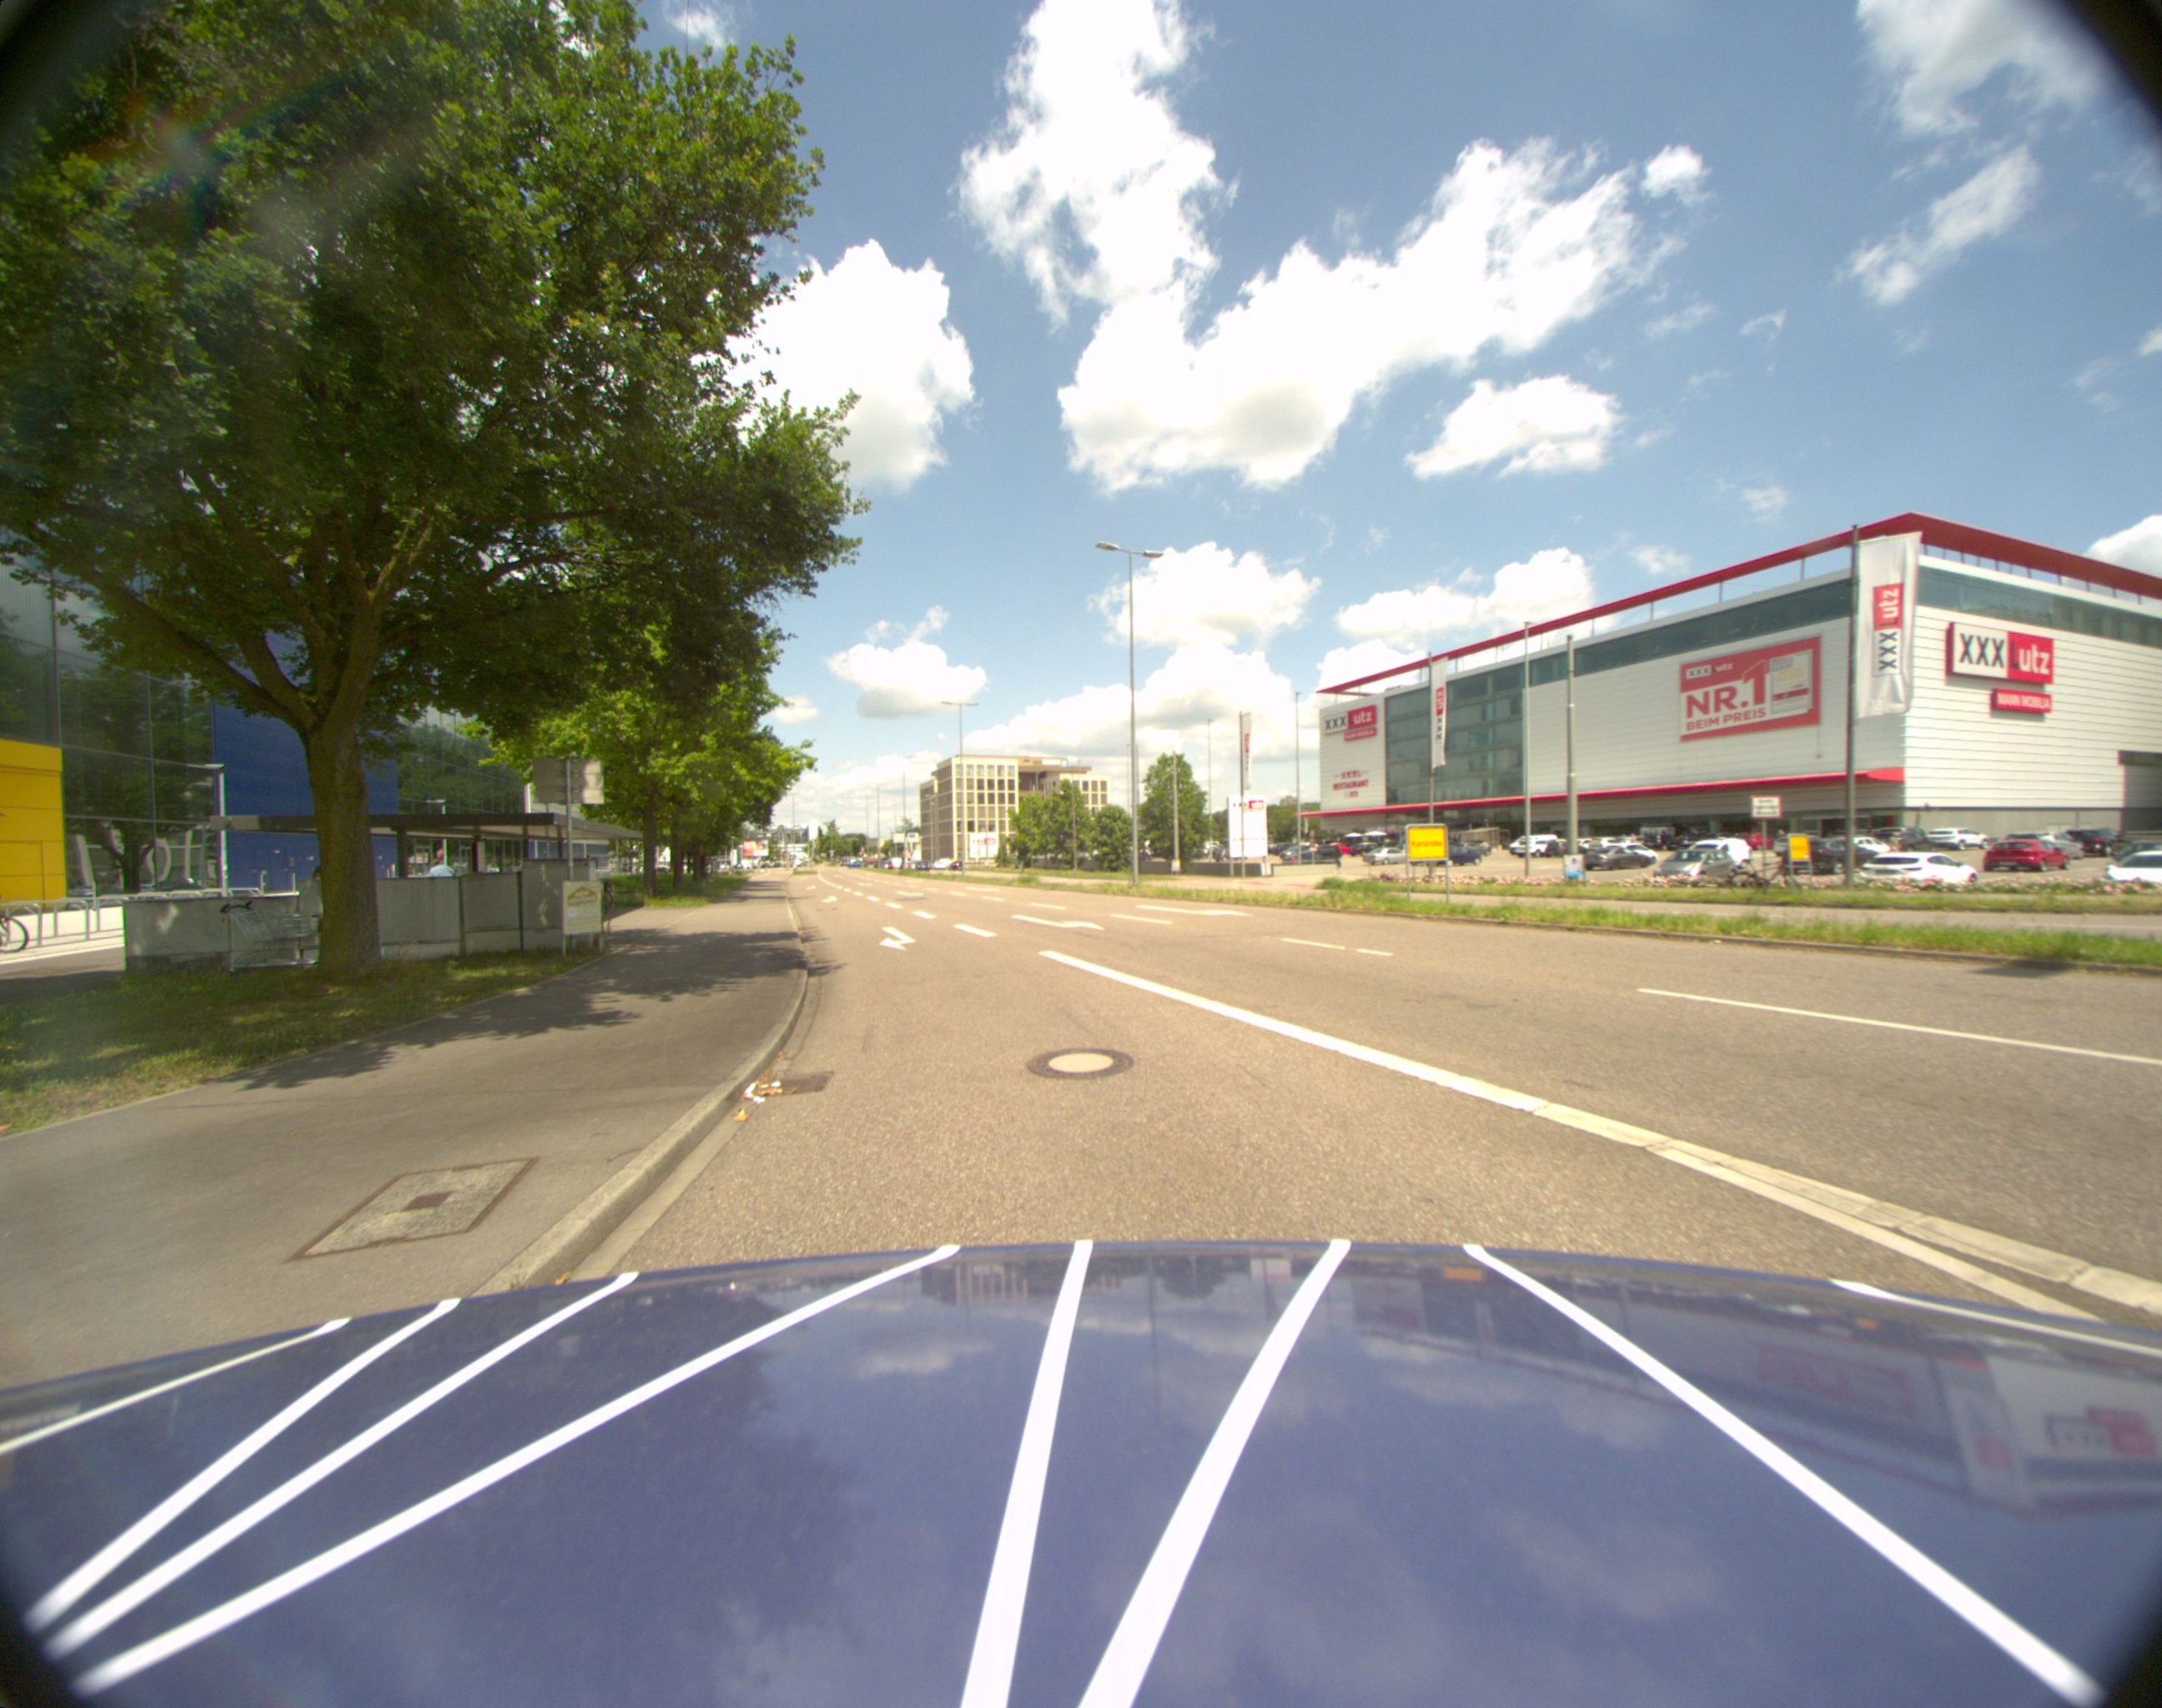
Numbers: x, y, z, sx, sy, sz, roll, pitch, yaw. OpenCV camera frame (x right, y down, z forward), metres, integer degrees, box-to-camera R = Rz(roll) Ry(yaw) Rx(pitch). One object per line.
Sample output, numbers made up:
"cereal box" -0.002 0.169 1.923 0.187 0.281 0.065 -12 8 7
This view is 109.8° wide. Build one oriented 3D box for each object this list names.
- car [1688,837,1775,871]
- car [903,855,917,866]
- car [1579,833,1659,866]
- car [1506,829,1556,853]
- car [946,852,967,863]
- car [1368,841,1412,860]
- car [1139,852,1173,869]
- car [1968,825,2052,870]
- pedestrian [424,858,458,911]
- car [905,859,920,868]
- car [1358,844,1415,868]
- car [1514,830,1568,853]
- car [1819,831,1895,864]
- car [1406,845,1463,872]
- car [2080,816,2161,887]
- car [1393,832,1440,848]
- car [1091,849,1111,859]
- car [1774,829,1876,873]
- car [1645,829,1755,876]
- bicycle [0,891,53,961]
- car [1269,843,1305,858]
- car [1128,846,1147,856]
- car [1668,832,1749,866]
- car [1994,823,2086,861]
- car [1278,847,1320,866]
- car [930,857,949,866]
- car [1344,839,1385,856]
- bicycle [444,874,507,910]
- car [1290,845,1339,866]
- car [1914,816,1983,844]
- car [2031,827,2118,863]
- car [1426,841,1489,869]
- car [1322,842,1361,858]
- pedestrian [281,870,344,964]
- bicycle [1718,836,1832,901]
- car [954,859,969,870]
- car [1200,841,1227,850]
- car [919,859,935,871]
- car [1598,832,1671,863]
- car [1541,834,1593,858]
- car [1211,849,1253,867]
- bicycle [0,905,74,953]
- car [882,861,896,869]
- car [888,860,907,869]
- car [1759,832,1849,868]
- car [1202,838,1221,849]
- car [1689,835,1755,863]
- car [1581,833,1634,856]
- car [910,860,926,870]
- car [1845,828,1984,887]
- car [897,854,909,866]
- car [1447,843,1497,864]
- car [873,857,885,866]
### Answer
"car" 37.364 0.005 43.638 4.367 1.829 1.996 -1 1 -22
"car" -28.192 1.074 124.955 1.799 1.691 4.220 -1 0 -19
"car" 33.413 -0.300 47.187 4.367 1.978 1.996 -1 1 -22
"car" 44.895 -1.298 75.768 4.576 2.293 1.866 -1 1 -22
"car" -25.607 0.722 155.846 4.003 2.002 1.997 -1 0 -18
"car" 34.776 -0.390 85.547 4.367 1.978 1.996 -1 1 -22
"car" 10.674 0.878 107.673 4.367 2.315 1.996 -1 1 -22
"car" 43.955 -0.342 35.925 5.318 1.978 1.995 -1 1 -34
"pedestrian" -21.123 1.004 25.078 0.523 1.712 0.635 0 2 18
"car" -26.295 1.437 118.505 1.799 1.393 4.837 -1 -1 -19
"car" 26.374 0.176 65.526 4.367 1.978 1.996 -1 1 -22
"car" 41.782 -1.122 68.966 4.367 1.978 1.996 -1 1 -22
"car" 49.278 -0.424 48.243 4.090 1.978 1.996 -1 1 -22
"car" 28.518 0.325 61.300 4.089 1.978 1.839 -3 2 -23
"car" 32.376 -0.101 22.688 4.004 2.002 1.996 -1 1 -20
"car" 39.664 -1.673 89.871 5.140 1.768 2.195 -1 0 -23
"car" 3.531 0.044 135.038 1.858 1.822 4.665 -1 0 -22
"car" 37.169 -0.158 37.970 4.601 1.978 1.996 -2 2 -22
"car" 28.027 -0.078 34.423 4.367 1.978 1.996 -1 1 -22
"bicycle" -20.326 1.298 13.725 2.147 1.222 0.720 0 0 -12
"car" 27.979 -0.518 103.176 4.367 1.978 1.996 -1 1 -22
"car" 10.292 -0.543 138.414 1.858 1.822 3.826 -1 0 -24
"car" 38.706 -0.308 46.857 4.367 1.978 1.996 -1 1 -22
"car" 52.481 -0.682 41.572 4.632 1.978 1.996 -1 1 -23
"car" 24.754 0.229 86.265 4.305 2.031 1.987 -1 1 -22
"car" -23.130 1.277 124.266 1.627 1.464 4.349 -1 -1 -29
"car" 33.479 -0.788 89.807 4.367 1.978 1.996 -1 1 -22
"bicycle" -20.015 1.240 25.121 2.010 1.101 0.578 0 1 16
"car" 23.275 0.145 75.592 4.367 1.978 1.996 -1 1 -22
"car" 63.270 -1.747 55.445 4.090 1.978 1.996 -1 1 -20
"car" 57.478 -0.500 43.971 4.367 1.978 1.996 -1 1 -22
"car" 29.210 0.034 58.969 4.367 1.978 1.996 -2 1 -22
"car" 32.535 -0.493 95.058 4.367 1.978 1.996 -1 1 -22
"pedestrian" -13.923 1.123 13.781 0.546 1.653 0.545 -1 1 -11
"bicycle" 18.931 0.385 20.782 1.022 1.665 2.045 -1 0 -21
"car" -17.352 1.515 109.956 1.625 1.461 4.110 -1 0 -17
"car" 21.382 -1.333 122.348 3.836 1.461 1.853 -1 0 -19
"car" -21.084 1.527 104.009 1.746 1.466 3.670 -1 1 -18
"car" 37.574 -0.486 51.584 4.367 1.978 1.996 -1 2 -22
"car" 42.563 -0.736 66.543 4.004 2.002 1.774 -1 0 -22
"car" 17.670 0.444 88.886 4.367 1.977 1.997 -1 -1 -22
"bicycle" -21.024 1.463 14.700 1.870 0.876 0.470 -1 0 -21
"car" -31.716 1.830 125.658 1.799 1.243 4.300 -1 -1 -19
"car" -31.727 1.792 131.559 1.801 1.551 3.760 -1 -1 -38
"car" 40.057 -0.239 42.124 4.367 1.871 1.996 -1 1 -22
"car" 24.538 -1.982 143.075 1.858 1.822 3.826 -1 0 -22
"car" 46.915 -0.372 55.620 4.090 1.978 1.996 -1 1 -22
"car" 47.352 -0.842 68.363 4.004 2.002 1.996 -1 0 -22
"car" -24.116 1.659 112.212 1.799 1.409 4.666 1 0 -20
"car" 30.063 0.082 27.419 4.367 1.978 1.996 -1 1 -22
"car" -32.343 1.078 138.227 1.865 2.031 3.571 -1 0 -18
"car" 39.137 -0.077 76.120 4.367 1.977 1.997 -1 0 -21
"car" -36.398 1.366 136.763 1.799 1.635 4.164 -1 0 -18
